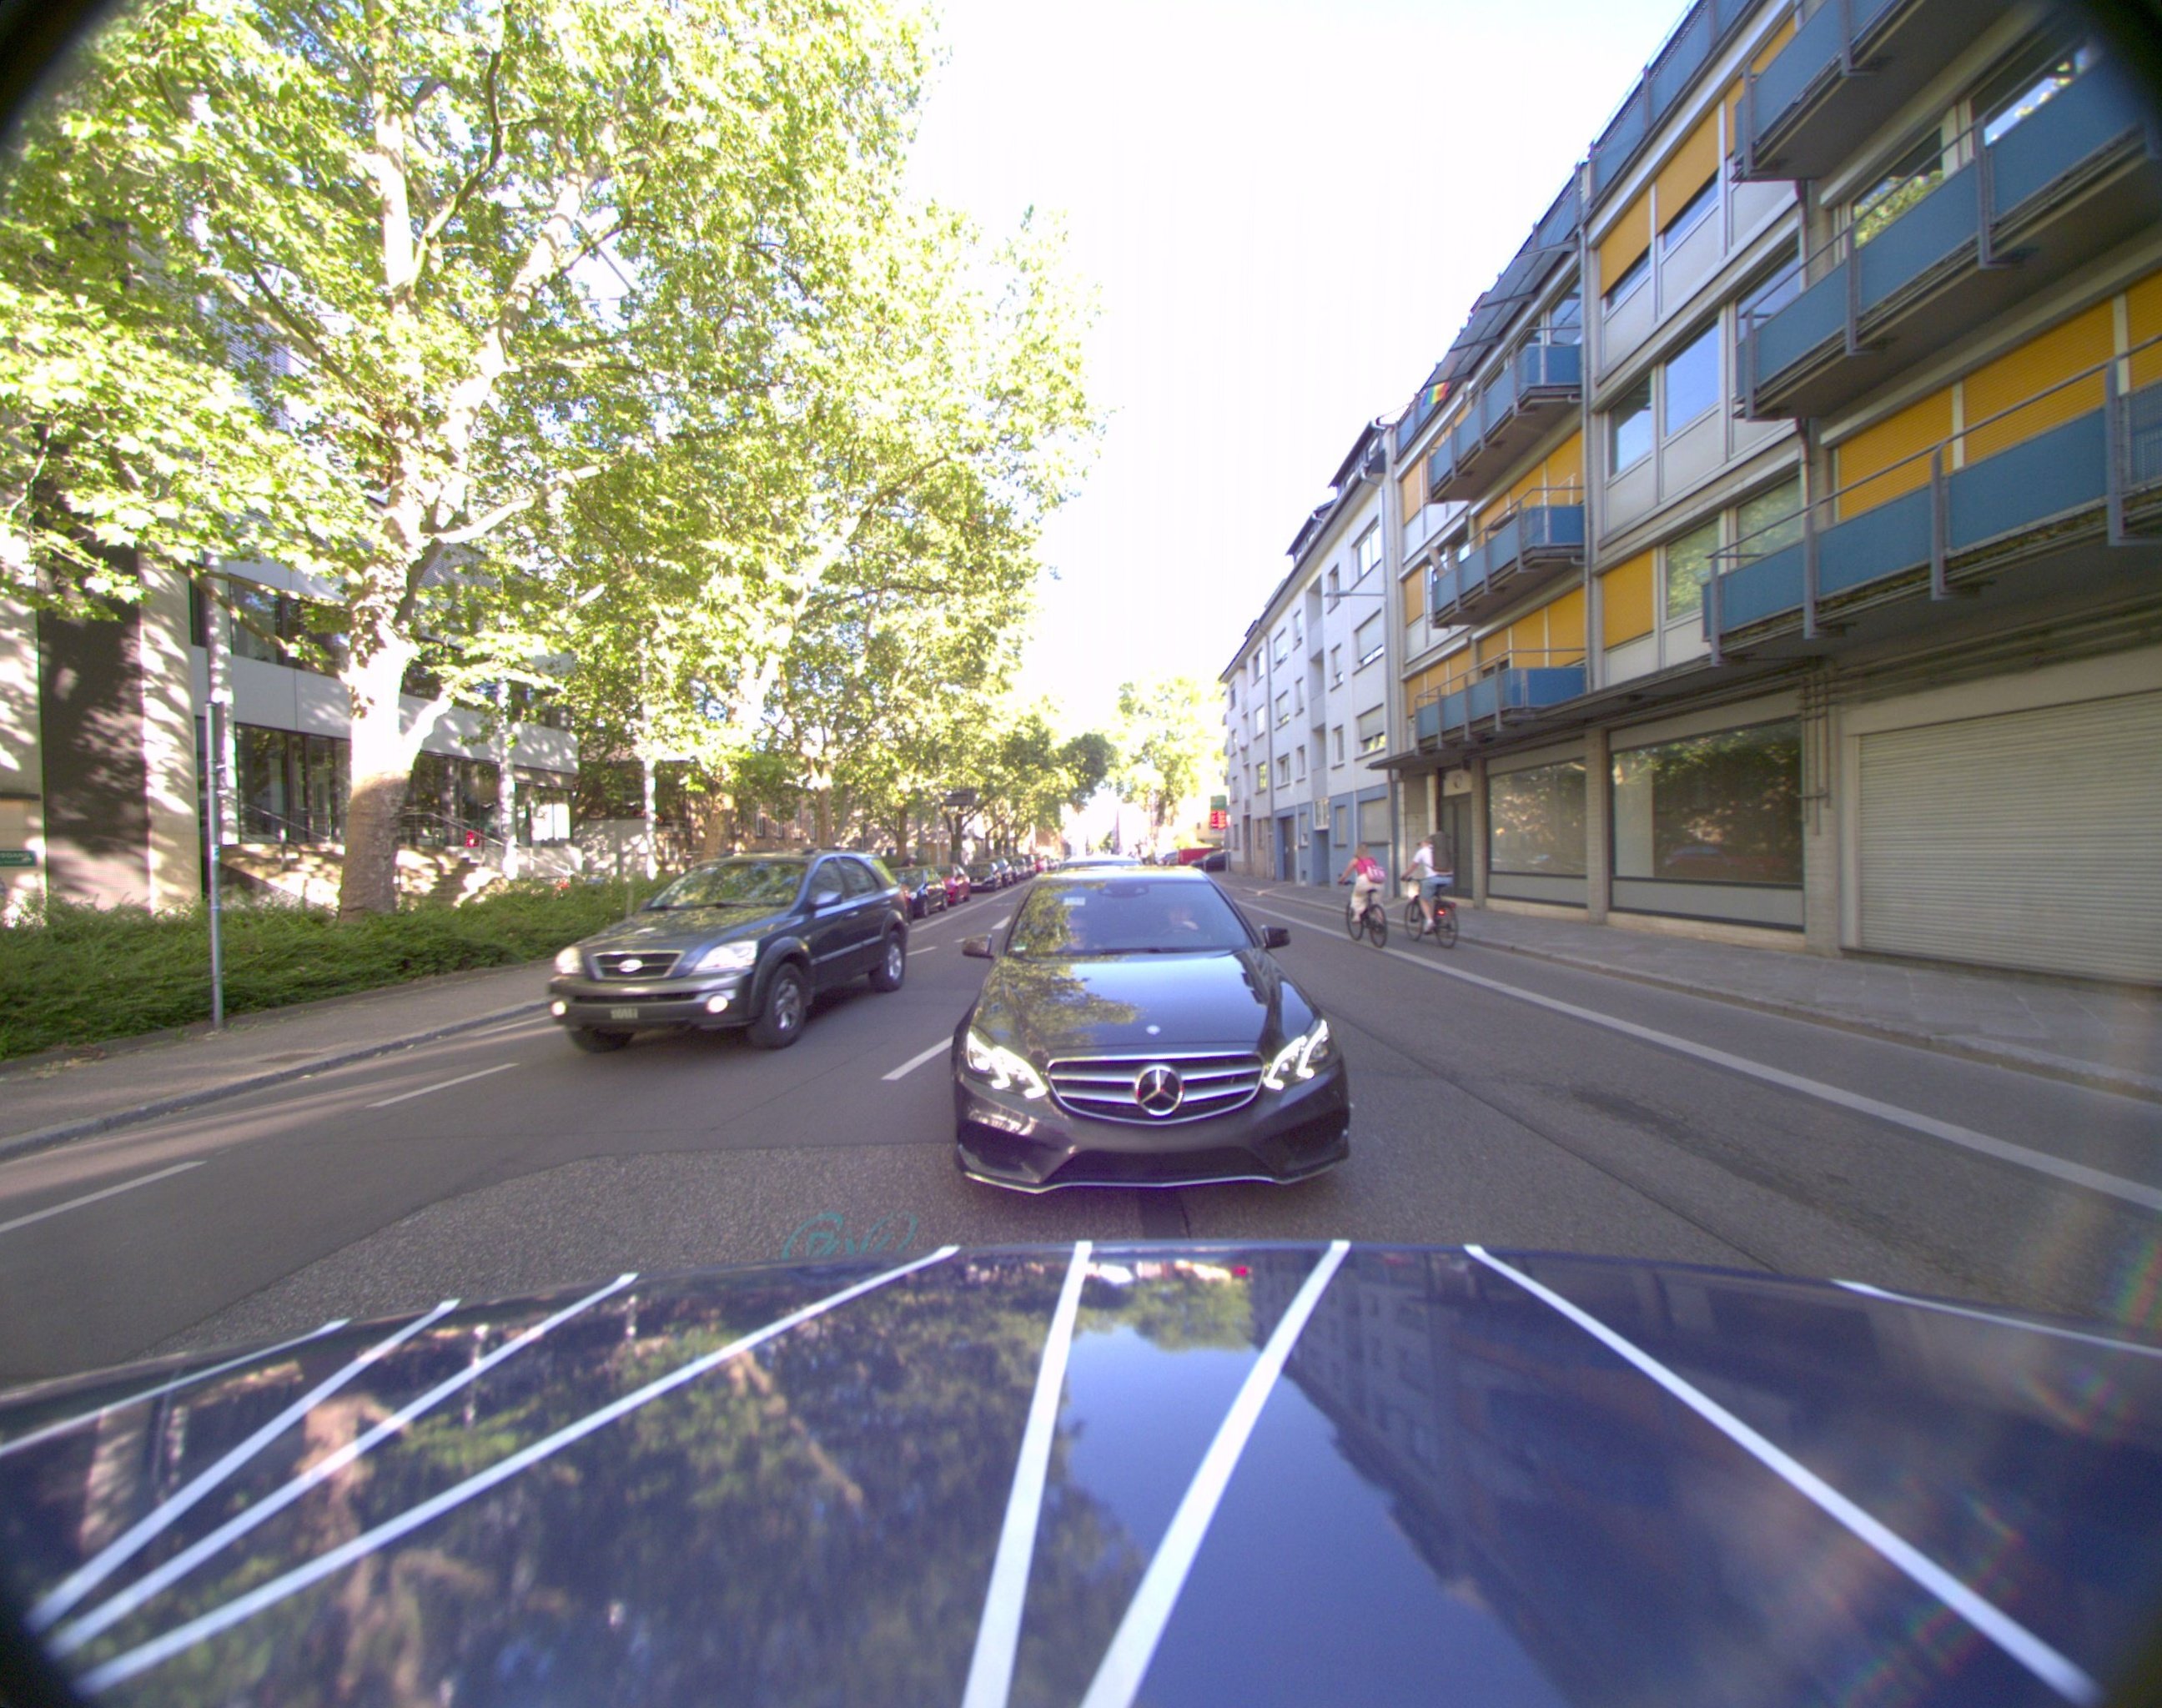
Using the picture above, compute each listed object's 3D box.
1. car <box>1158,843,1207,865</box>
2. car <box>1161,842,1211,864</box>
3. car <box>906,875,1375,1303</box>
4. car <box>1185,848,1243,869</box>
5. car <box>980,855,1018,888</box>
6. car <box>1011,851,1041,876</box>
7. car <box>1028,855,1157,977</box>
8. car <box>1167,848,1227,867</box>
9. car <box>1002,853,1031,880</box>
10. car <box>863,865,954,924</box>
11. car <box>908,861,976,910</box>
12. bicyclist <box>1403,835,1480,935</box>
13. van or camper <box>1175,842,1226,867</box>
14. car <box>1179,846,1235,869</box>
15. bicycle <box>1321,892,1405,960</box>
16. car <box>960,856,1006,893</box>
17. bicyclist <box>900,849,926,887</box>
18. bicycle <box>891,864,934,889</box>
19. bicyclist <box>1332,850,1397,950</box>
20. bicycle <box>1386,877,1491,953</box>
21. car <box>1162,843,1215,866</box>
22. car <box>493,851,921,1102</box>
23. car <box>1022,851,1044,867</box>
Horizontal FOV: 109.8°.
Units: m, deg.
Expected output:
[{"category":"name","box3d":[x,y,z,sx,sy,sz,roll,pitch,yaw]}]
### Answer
[{"category":"car","box3d":[11.034,-0.006,82.826,4.991,2.181,2.000,-2,1,1]},{"category":"car","box3d":[11.030,-0.099,80.195,4.991,2.181,2.000,-2,1,1]},{"category":"car","box3d":[0.224,0.948,4.817,1.740,1.448,3.864,-2,0,0]},{"category":"car","box3d":[10.312,0.326,58.965,4.146,1.486,2.000,-2,0,1]},{"category":"car","box3d":[-4.529,0.939,42.380,1.634,1.677,3.907,-2,0,0]},{"category":"car","box3d":[-4.280,0.726,59.852,1.992,1.795,4.376,-2,0,0]},{"category":"car","box3d":[0.186,0.848,12.591,1.646,1.520,4.619,-4,0,1]},{"category":"car","box3d":[10.158,0.286,66.705,4.990,1.486,2.000,-2,0,1]},{"category":"car","box3d":[-4.615,0.872,54.813,1.741,1.785,3.895,-2,0,0]},{"category":"car","box3d":[-5.038,1.137,22.751,1.741,1.444,4.091,-4,0,0]},{"category":"car","box3d":[-4.986,1.089,27.682,1.681,1.484,3.918,-4,0,0]},{"category":"bicyclist","box3d":[5.849,0.491,12.370,0.844,1.546,0.839,-2,1,1]},{"category":"van or camper","box3d":[10.056,0.026,64.203,3.997,2.002,2.000,-2,1,0]},{"category":"car","box3d":[10.135,0.271,61.296,4.146,1.681,2.000,-2,0,1]},{"category":"bicycle","box3d":[4.643,1.162,12.640,0.695,0.924,1.863,-2,0,1]},{"category":"car","box3d":[-4.760,0.952,37.394,1.741,1.622,4.091,-2,0,0]},{"category":"bicyclist","box3d":[-7.384,0.624,33.477,1.038,1.610,0.697,-2,1,-10]},{"category":"bicycle","box3d":[-7.410,0.967,33.477,1.800,1.009,0.734,-2,1,-11]},{"category":"bicyclist","box3d":[4.648,0.721,12.525,0.686,1.569,0.982,-2,1,1]},{"category":"bicycle","box3d":[5.845,0.970,12.547,0.865,1.072,1.836,-2,0,1]},{"category":"car","box3d":[10.910,0.028,77.343,4.991,2.181,2.000,-2,1,1]},{"category":"car","box3d":[-3.236,0.913,7.791,1.784,1.760,4.386,-3,0,6]},{"category":"car","box3d":[-4.387,0.443,70.448,1.741,1.469,4.091,-2,0,0]}]
